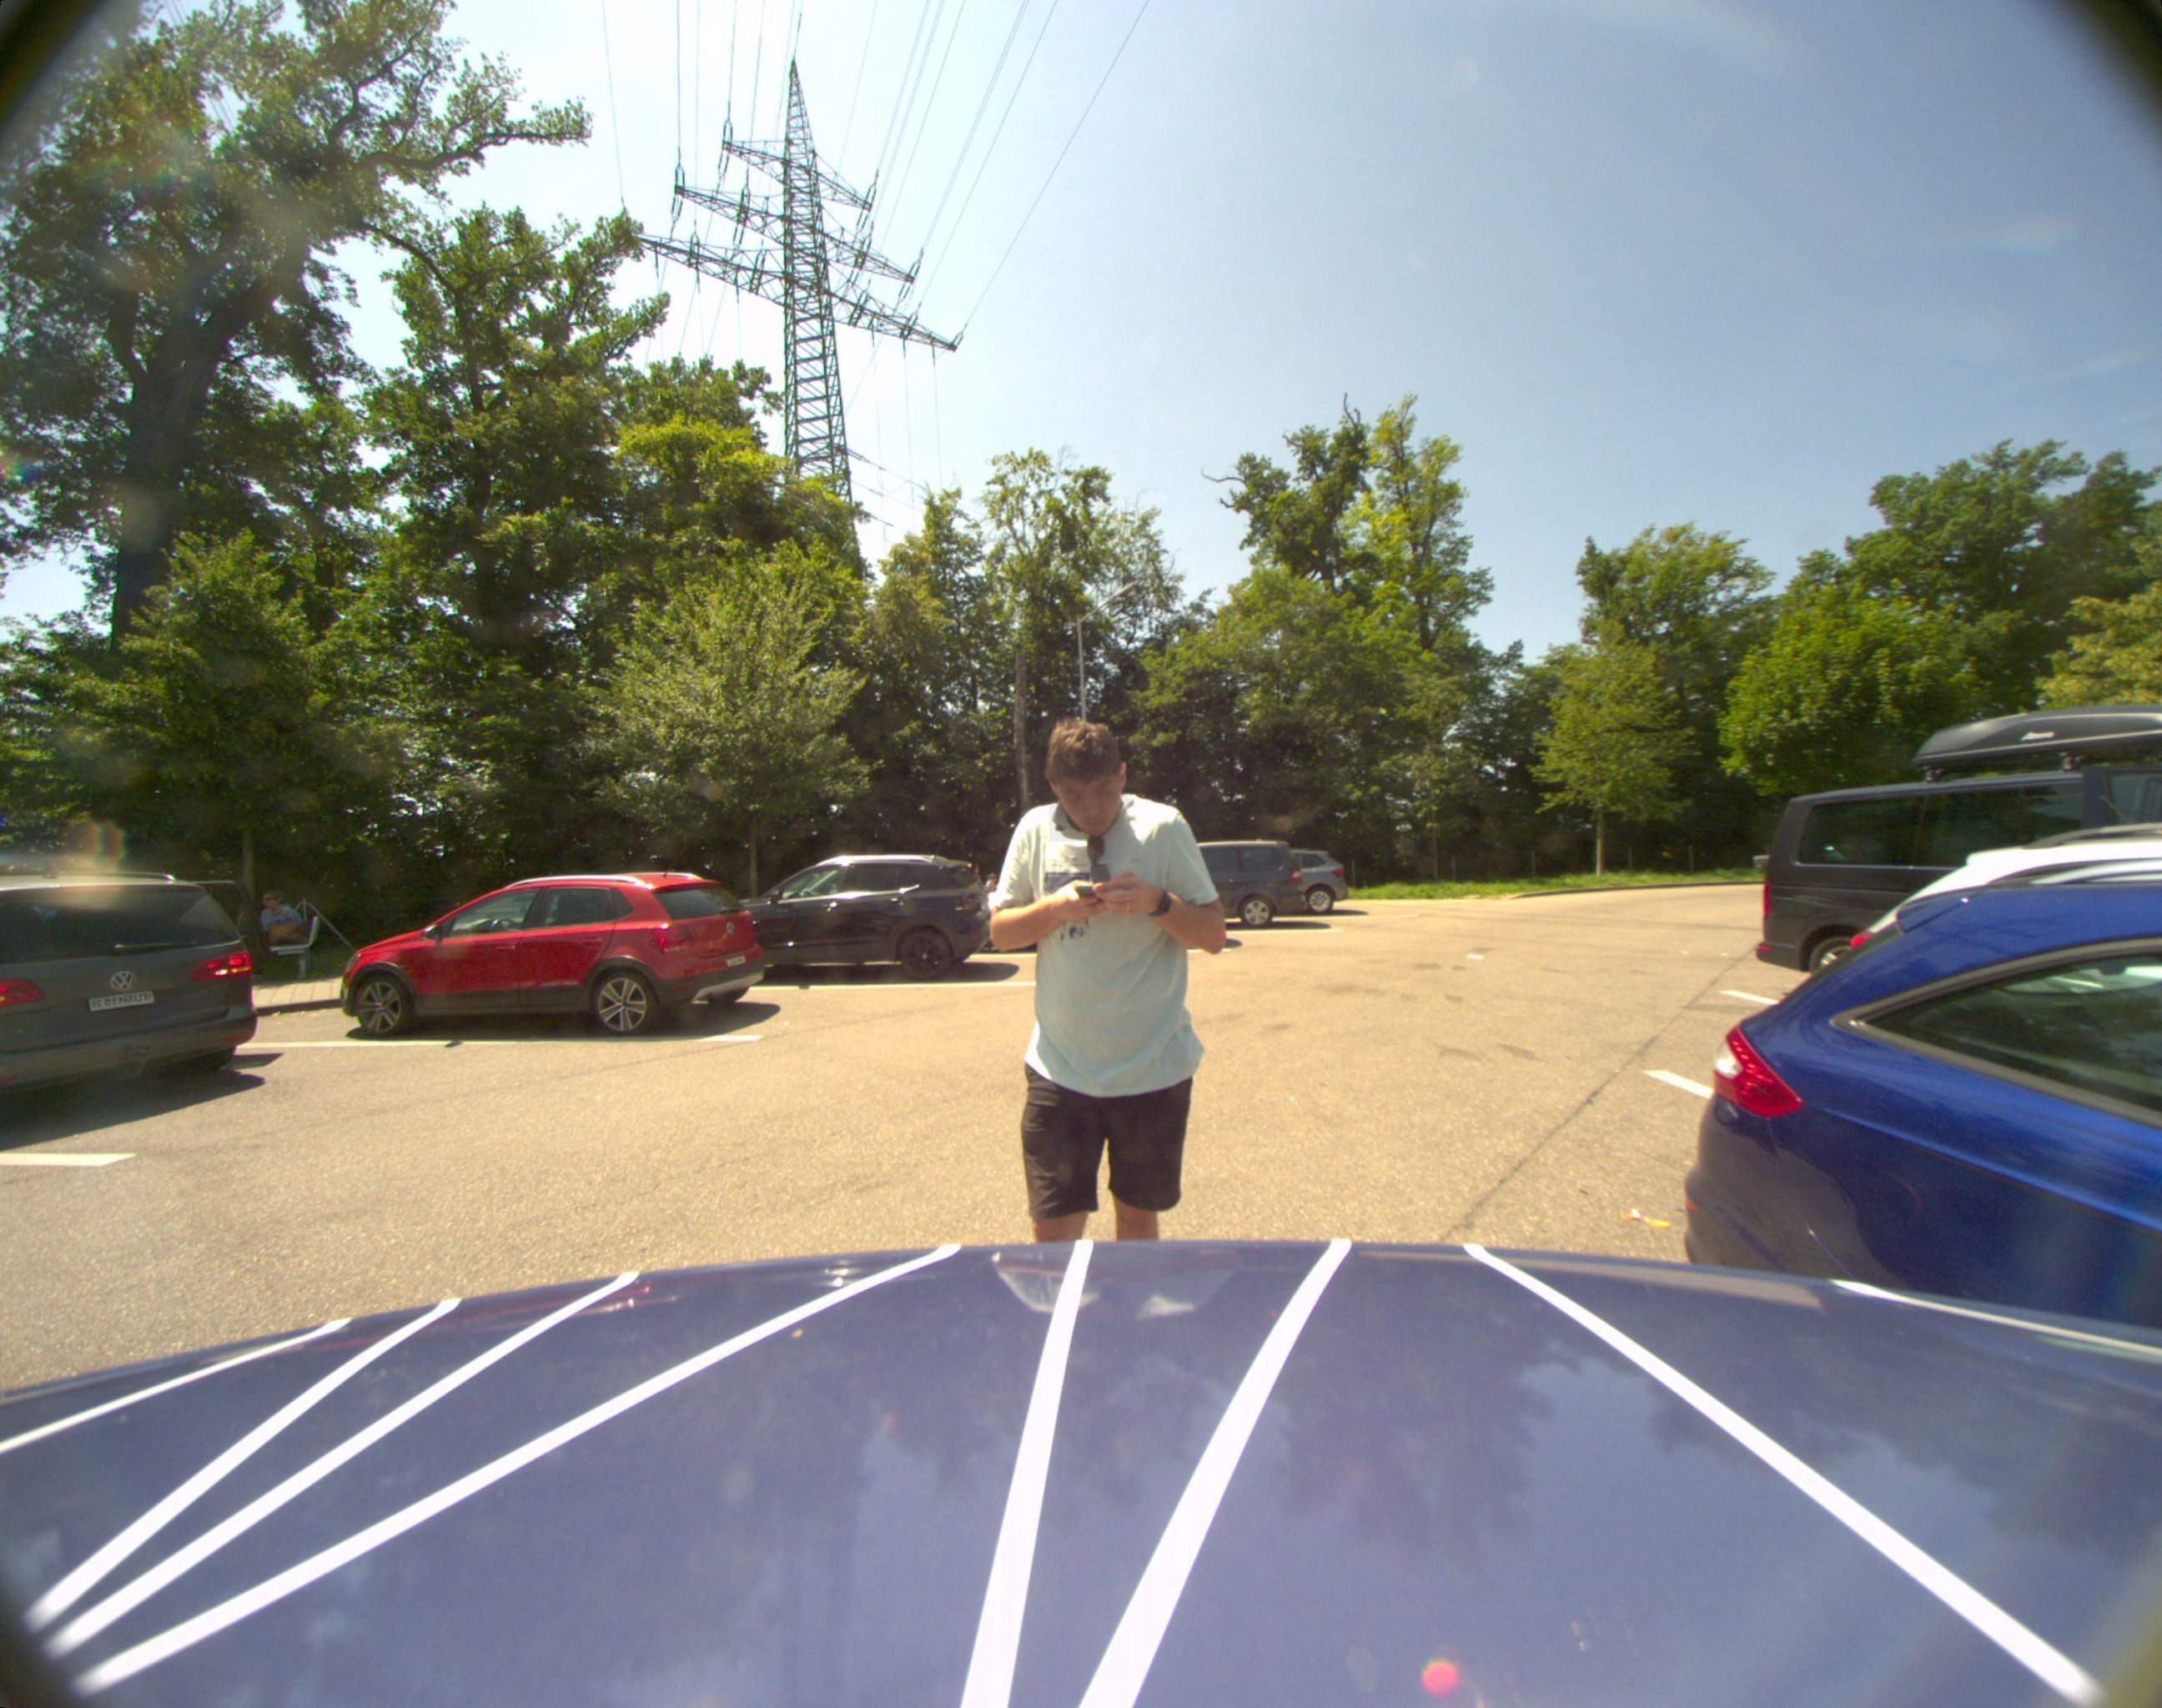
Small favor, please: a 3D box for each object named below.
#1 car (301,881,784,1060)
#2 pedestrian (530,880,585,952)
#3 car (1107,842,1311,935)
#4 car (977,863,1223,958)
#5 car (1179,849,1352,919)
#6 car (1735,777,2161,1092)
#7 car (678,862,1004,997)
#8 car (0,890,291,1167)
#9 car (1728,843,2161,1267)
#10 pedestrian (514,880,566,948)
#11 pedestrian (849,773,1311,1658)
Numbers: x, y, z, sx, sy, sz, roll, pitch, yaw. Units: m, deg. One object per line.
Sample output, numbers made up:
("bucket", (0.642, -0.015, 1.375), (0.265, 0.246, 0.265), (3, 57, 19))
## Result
("car", (-5.239, 1.081, 7.651), (3.785, 1.457, 1.722), (-1, 1, 9))
("pedestrian", (-9.995, 1.162, 14.500), (0.782, 1.287, 0.670), (-1, 2, 45))
("car", (2.589, 0.678, 15.452), (3.818, 1.714, 1.722), (-1, 1, 12))
("car", (0.365, 0.911, 12.726), (3.819, 1.377, 1.722), (-2, 1, 6))
("car", (4.341, 0.700, 18.154), (3.818, 1.530, 1.722), (-1, 1, 12))
("car", (7.319, 0.435, 4.911), (1.961, 1.858, 4.642), (-3, -1, -3))
("car", (-3.066, 0.951, 10.261), (3.787, 1.564, 1.721), (-2, 1, 2))
("car", (-8.292, 1.124, 5.442), (3.985, 1.572, 1.749), (-1, 1, 12))
("car", (4.872, 0.725, 2.282), (1.741, 1.524, 4.642), (-3, -1, -2))
("pedestrian", (-10.910, 1.190, 15.321), (0.782, 1.287, 0.670), (-1, 2, 45))
("pedestrian", (0.007, 0.764, 1.892), (0.890, 1.831, 0.622), (-2, 1, 1))
